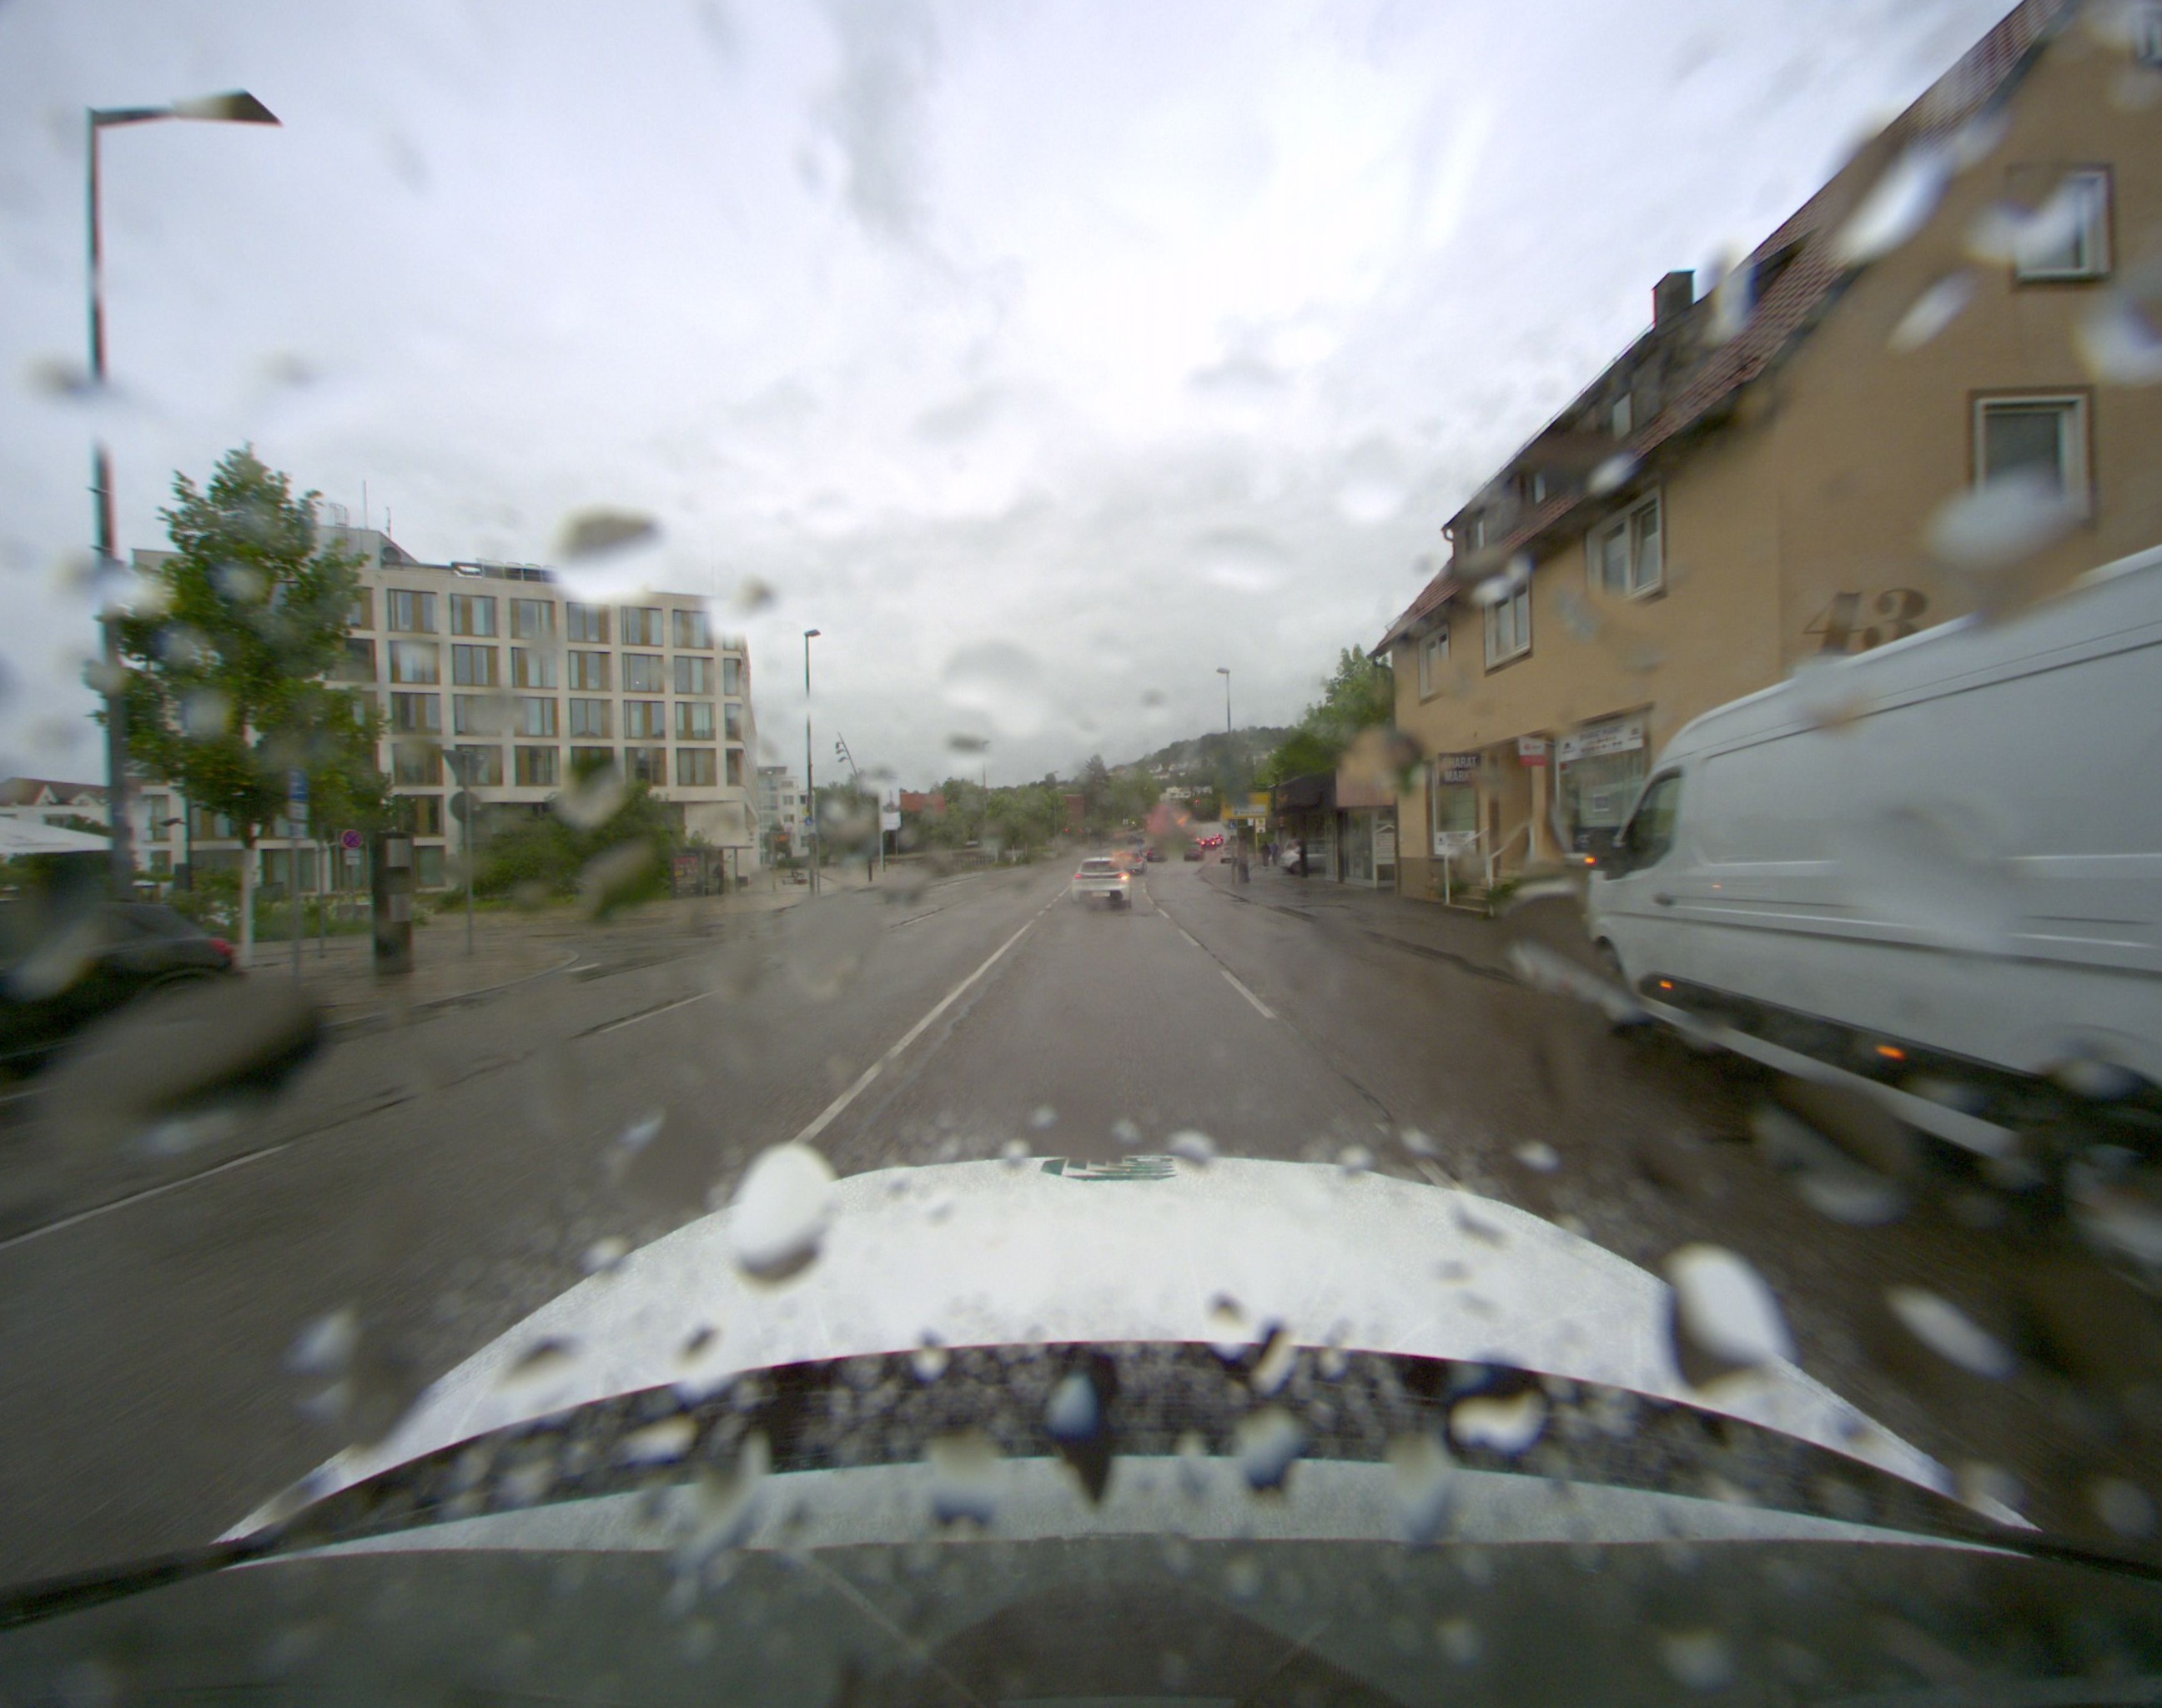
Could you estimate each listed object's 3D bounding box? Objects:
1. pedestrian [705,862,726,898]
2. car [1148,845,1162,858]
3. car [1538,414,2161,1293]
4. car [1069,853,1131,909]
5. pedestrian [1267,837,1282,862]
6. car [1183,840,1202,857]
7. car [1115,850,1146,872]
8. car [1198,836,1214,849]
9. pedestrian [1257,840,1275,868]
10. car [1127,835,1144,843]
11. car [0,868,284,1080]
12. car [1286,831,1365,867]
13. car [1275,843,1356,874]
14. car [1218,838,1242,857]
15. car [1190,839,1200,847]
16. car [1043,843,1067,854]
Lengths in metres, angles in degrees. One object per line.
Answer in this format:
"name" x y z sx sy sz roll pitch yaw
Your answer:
"pedestrian" -18.015 1.291 40.175 0.783 1.745 0.671 -2 -2 -13
"car" 7.055 -0.242 77.683 1.206 1.156 2.275 -2 -1 7
"car" 4.719 0.002 4.420 2.274 2.382 6.652 -3 -1 15
"car" 0.641 0.775 24.468 1.683 1.519 3.937 -1 -1 4
"pedestrian" 14.160 -0.331 59.558 0.871 1.736 0.761 -3 1 4
"car" 10.973 -0.559 80.337 1.725 1.387 3.359 -1 3 6
"car" 3.188 0.423 52.107 1.732 1.295 3.340 -3 0 6
"car" 16.903 -1.540 109.881 1.642 1.485 3.366 -2 -1 1
"pedestrian" 12.140 0.010 53.447 0.711 1.821 0.790 -2 -2 -24
"car" 8.973 -2.474 135.188 2.430 1.157 1.359 -2 -1 -25
"car" -9.116 0.976 6.186 1.581 1.582 4.472 -2 0 1
"car" 14.244 -0.299 47.608 4.073 1.871 1.880 -3 0 6
"car" 12.669 0.246 44.221 3.966 1.447 1.750 -3 0 6
"car" 13.191 -0.564 71.914 1.718 1.497 4.497 -3 1 14
"car" 17.293 -1.639 123.341 1.378 1.126 2.615 -3 -1 7
"car" -4.159 -0.944 130.379 3.530 1.569 1.786 -2 -2 -23
